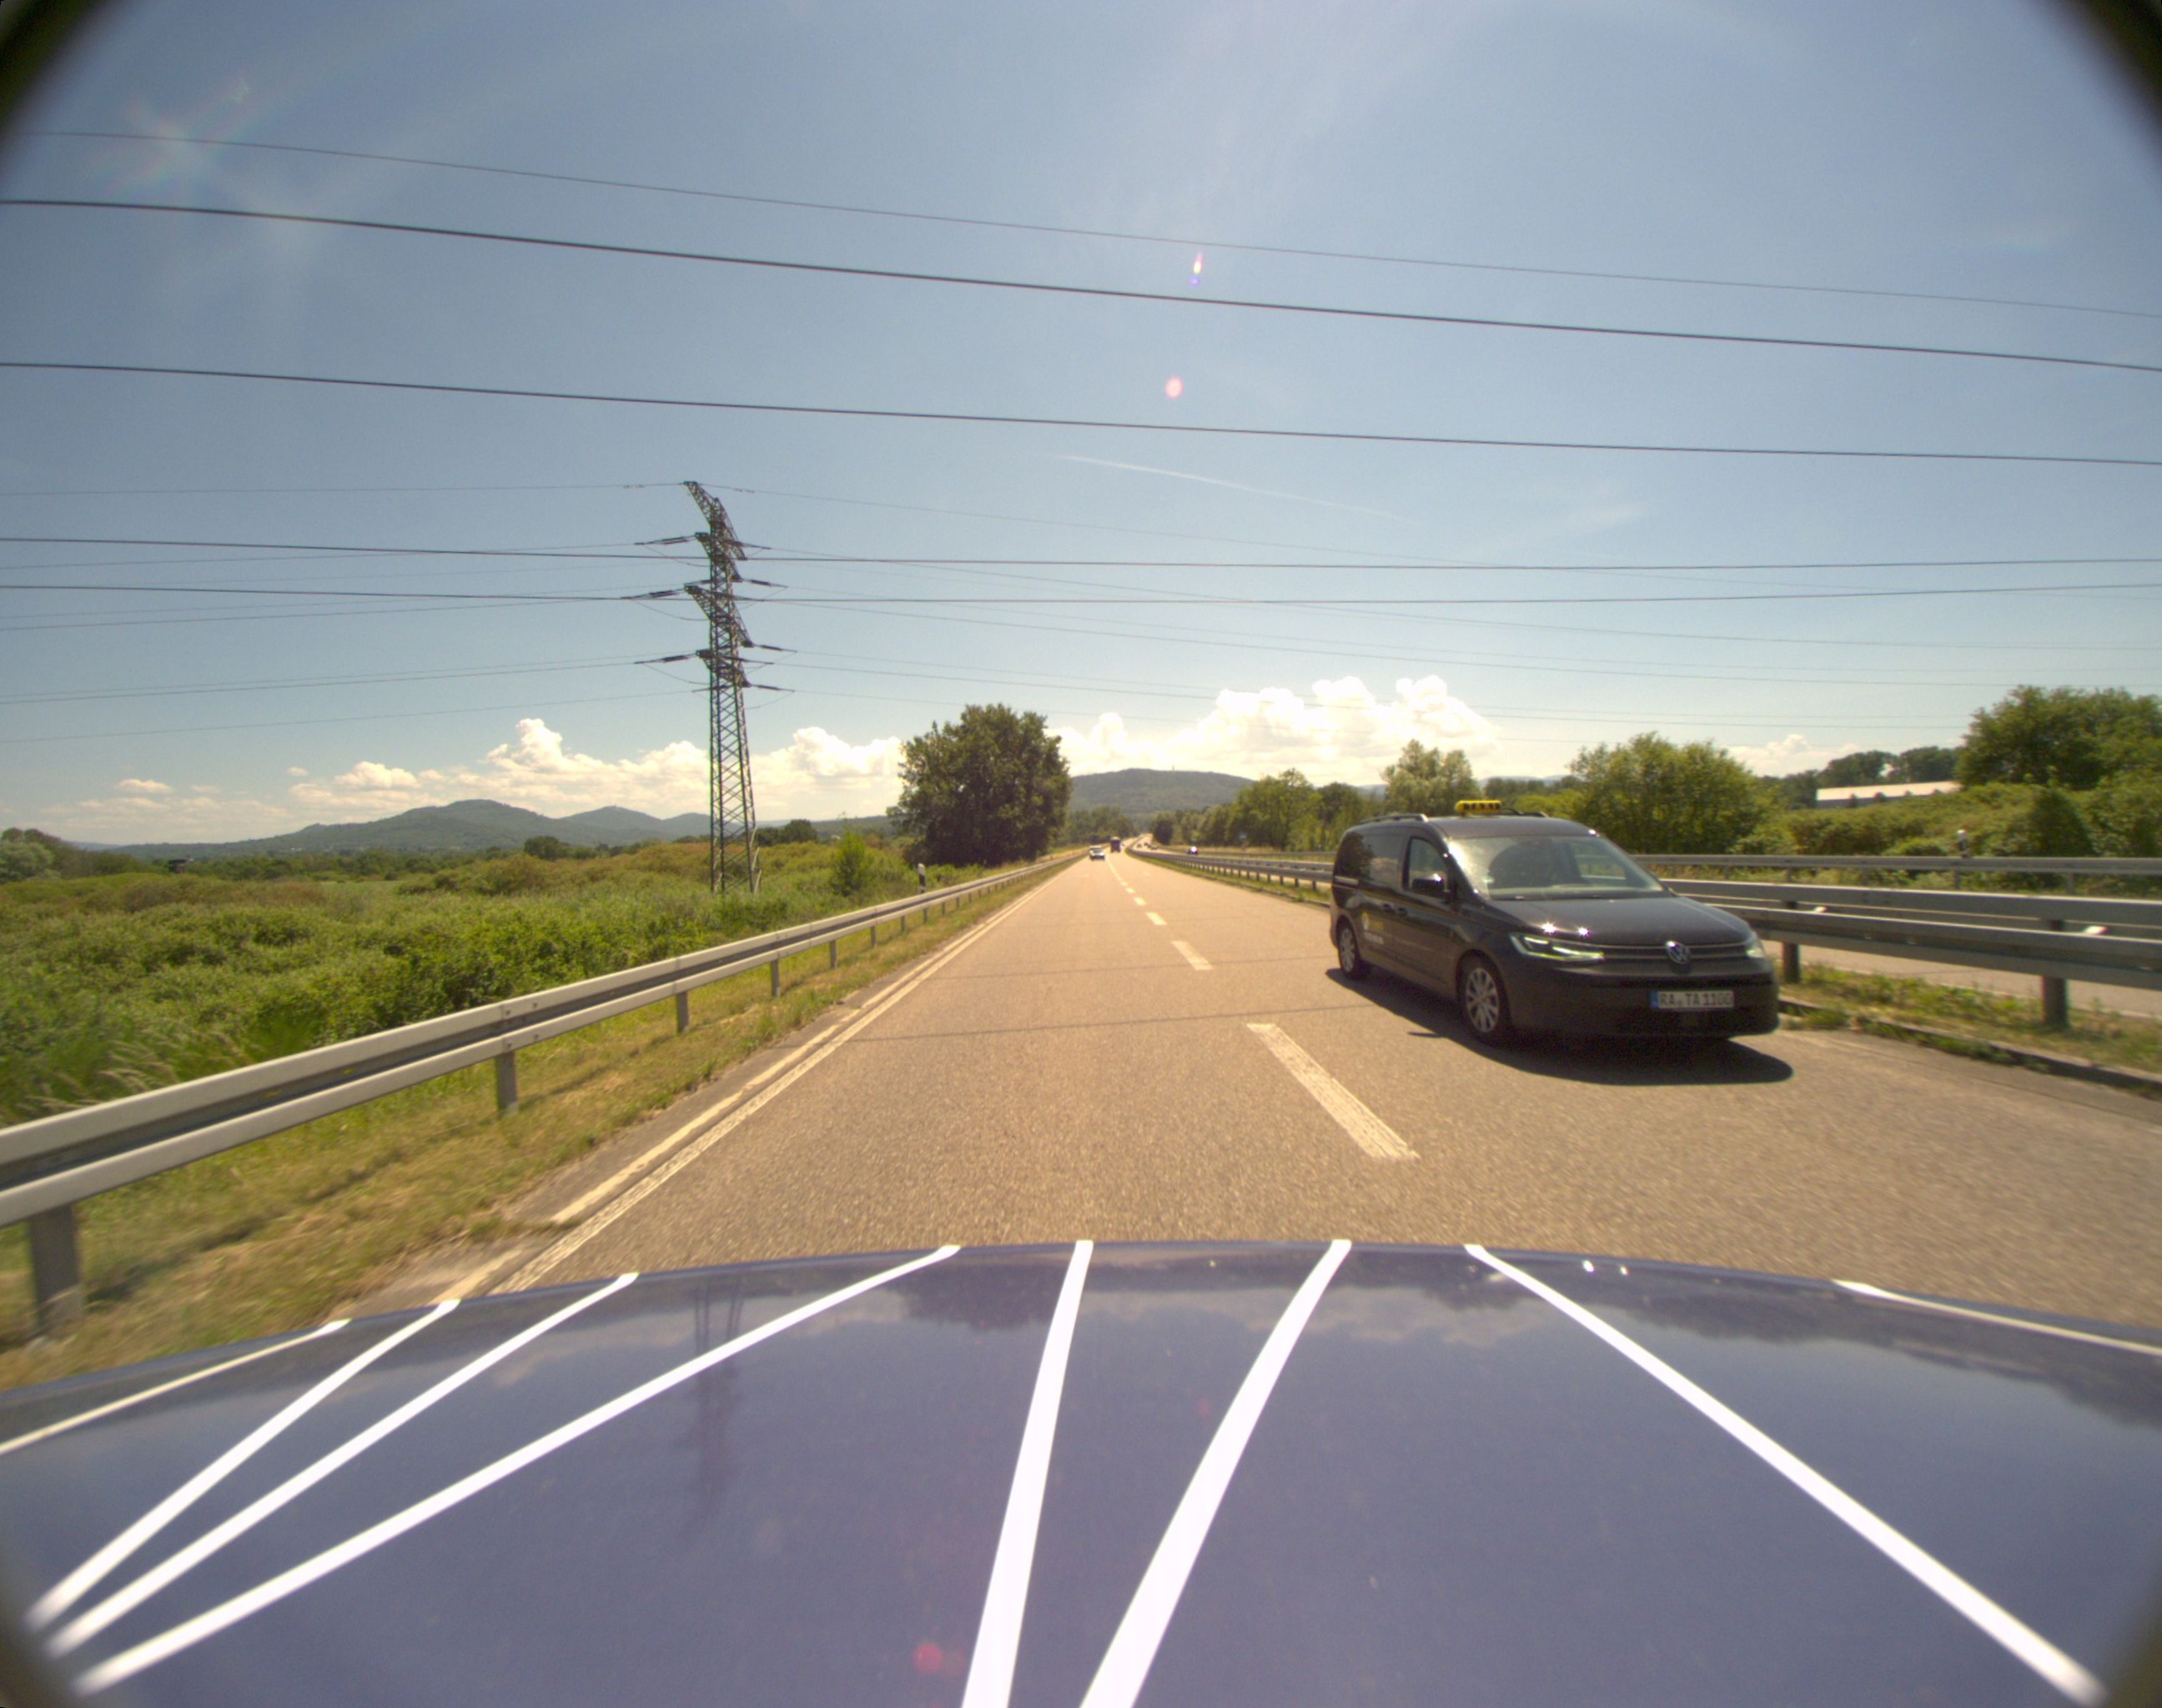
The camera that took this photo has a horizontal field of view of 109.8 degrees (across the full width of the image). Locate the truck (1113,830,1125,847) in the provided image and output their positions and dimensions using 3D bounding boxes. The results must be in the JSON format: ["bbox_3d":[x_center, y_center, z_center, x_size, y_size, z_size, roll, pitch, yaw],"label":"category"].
[{"bbox_3d":[9.747,-4.037,194.007,2.826,4.143,9.949,-2,1,4],"label":"truck"}]

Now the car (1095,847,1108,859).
[{"bbox_3d":[2.741,-0.157,101.767,1.577,1.387,3.486,-2,1,4],"label":"car"}]

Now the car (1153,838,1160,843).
[{"bbox_3d":[21.922,-3.929,220.639,1.928,1.377,4.658,-1,1,3],"label":"car"}]

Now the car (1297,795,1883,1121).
[{"bbox_3d":[3.797,0.576,7.259,1.859,1.876,5.572,-2,1,0],"label":"car"}]

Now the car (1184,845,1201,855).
[{"bbox_3d":[16.184,-0.600,110.744,1.849,1.405,4.680,-2,1,1],"label":"car"}]
